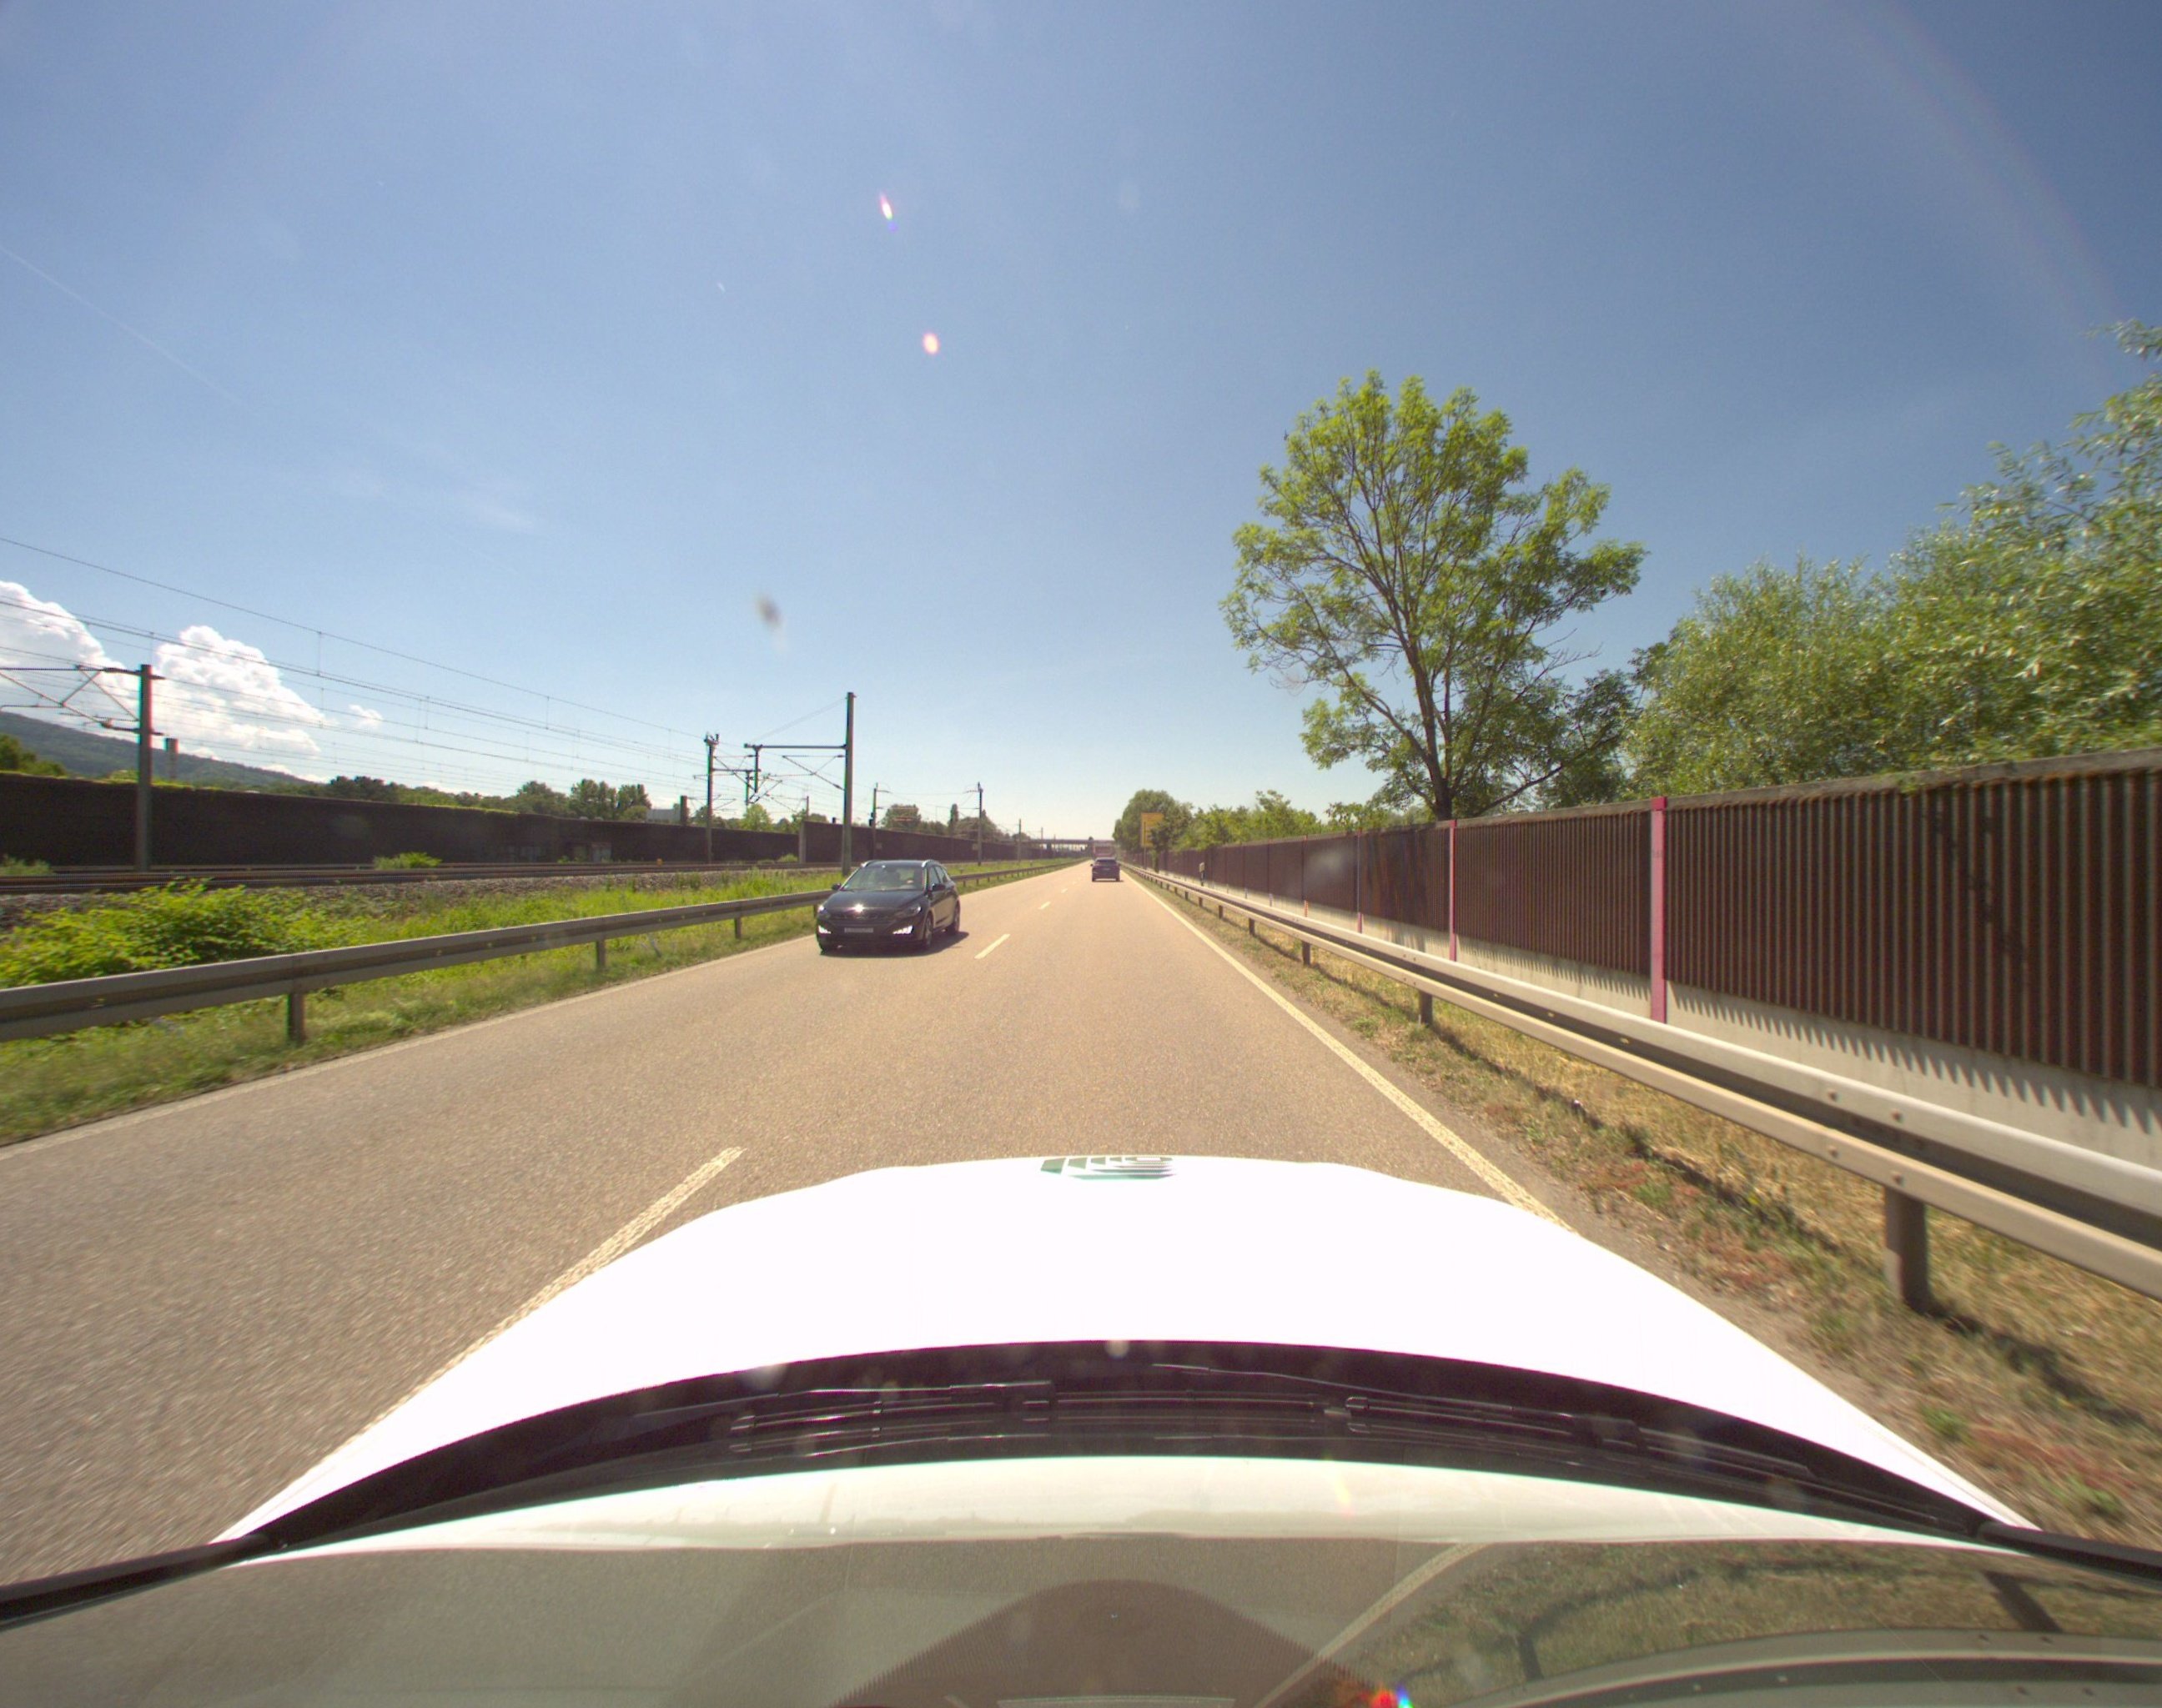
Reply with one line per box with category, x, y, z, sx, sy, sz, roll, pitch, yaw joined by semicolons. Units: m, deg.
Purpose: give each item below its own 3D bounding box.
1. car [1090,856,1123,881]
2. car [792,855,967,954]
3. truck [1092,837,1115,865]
car;1.641;0.928;53.309;1.987;1.508;3.999;-1;0;0
car;-3.393;0.789;14.614;1.967;1.508;4.164;0;0;2
truck;2.960;-0.325;105.603;2.760;3.425;10.823;-1;0;2
